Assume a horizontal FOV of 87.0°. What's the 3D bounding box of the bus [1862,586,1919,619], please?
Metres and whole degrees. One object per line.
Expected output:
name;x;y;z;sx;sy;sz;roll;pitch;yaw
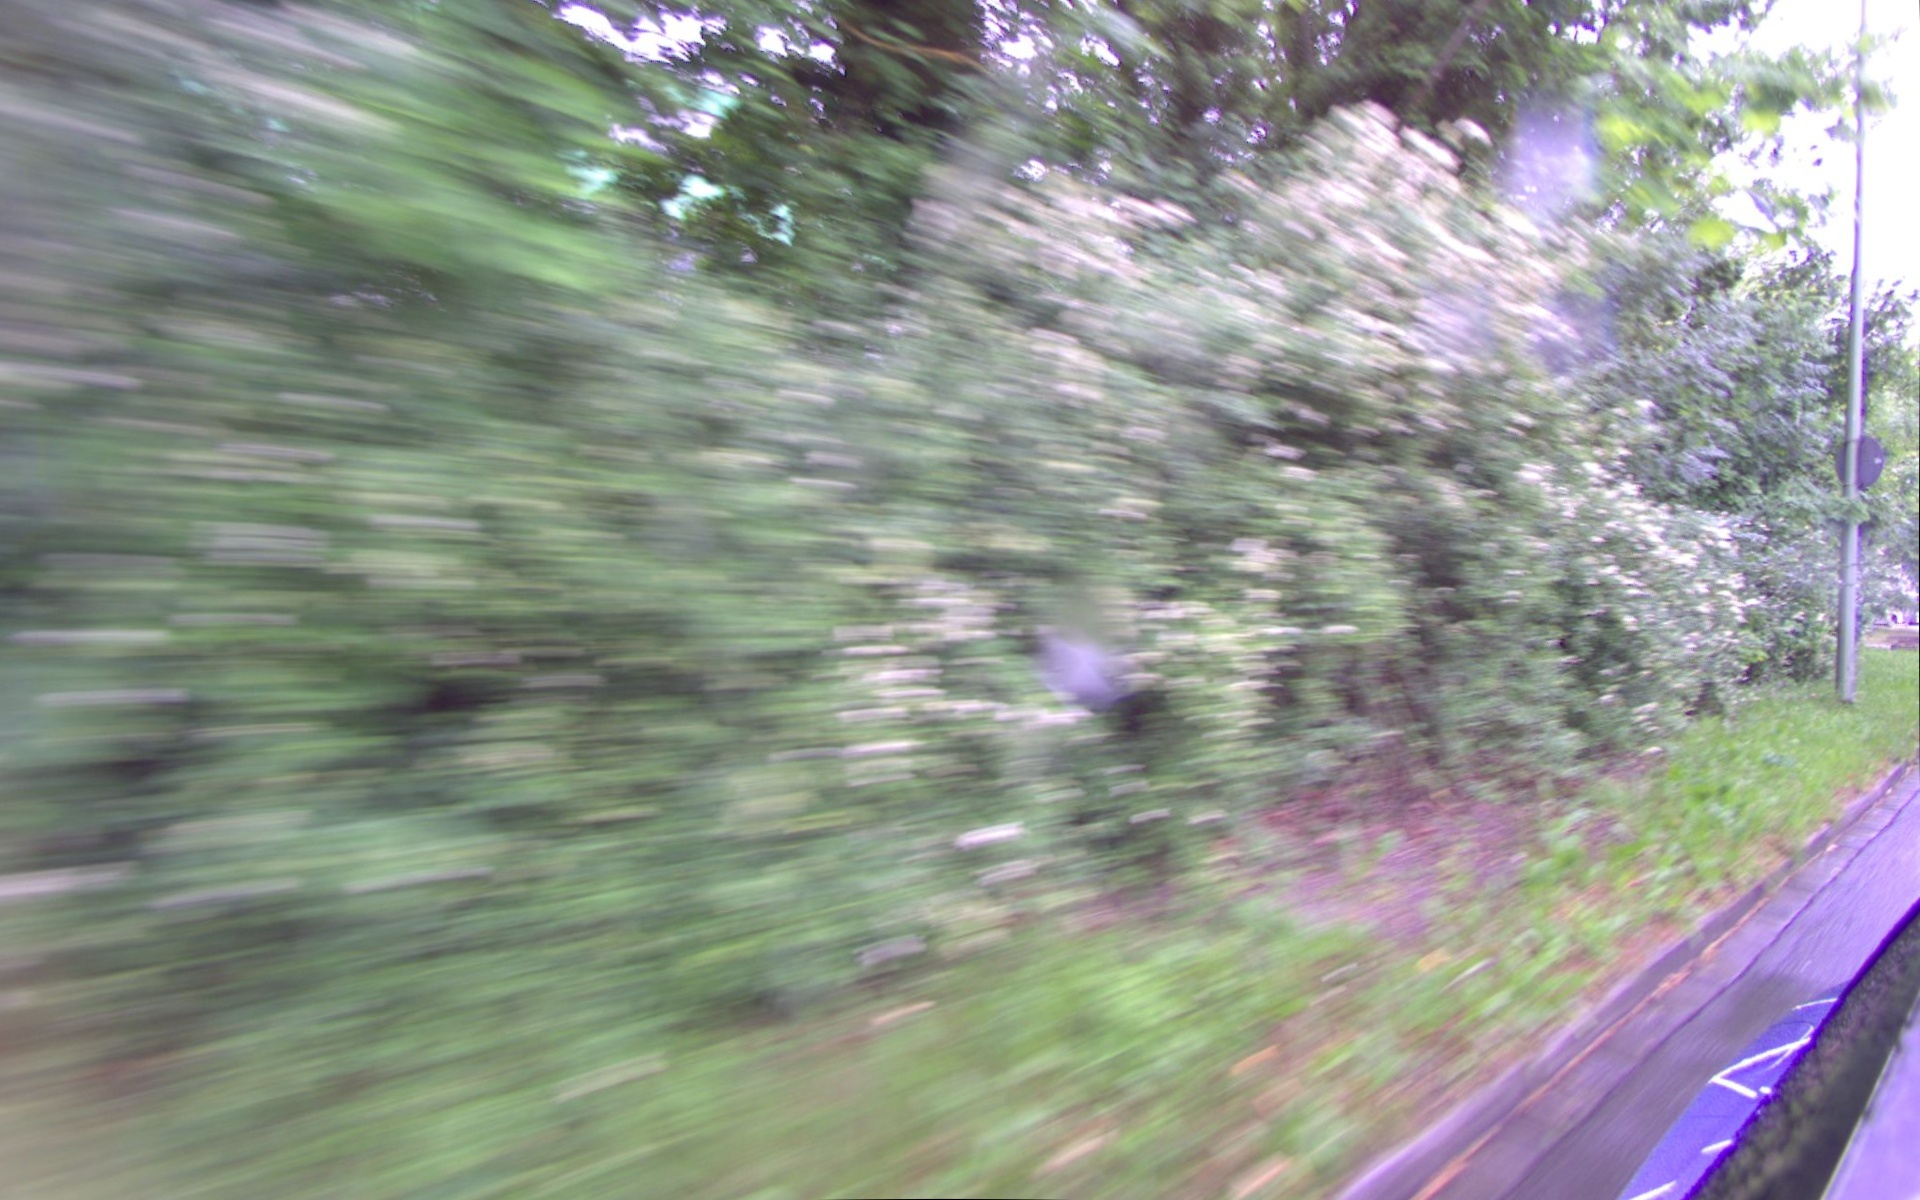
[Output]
bus;84.414;0.190;88.343;10.170;2.822;2.904;-1;-1;-11
